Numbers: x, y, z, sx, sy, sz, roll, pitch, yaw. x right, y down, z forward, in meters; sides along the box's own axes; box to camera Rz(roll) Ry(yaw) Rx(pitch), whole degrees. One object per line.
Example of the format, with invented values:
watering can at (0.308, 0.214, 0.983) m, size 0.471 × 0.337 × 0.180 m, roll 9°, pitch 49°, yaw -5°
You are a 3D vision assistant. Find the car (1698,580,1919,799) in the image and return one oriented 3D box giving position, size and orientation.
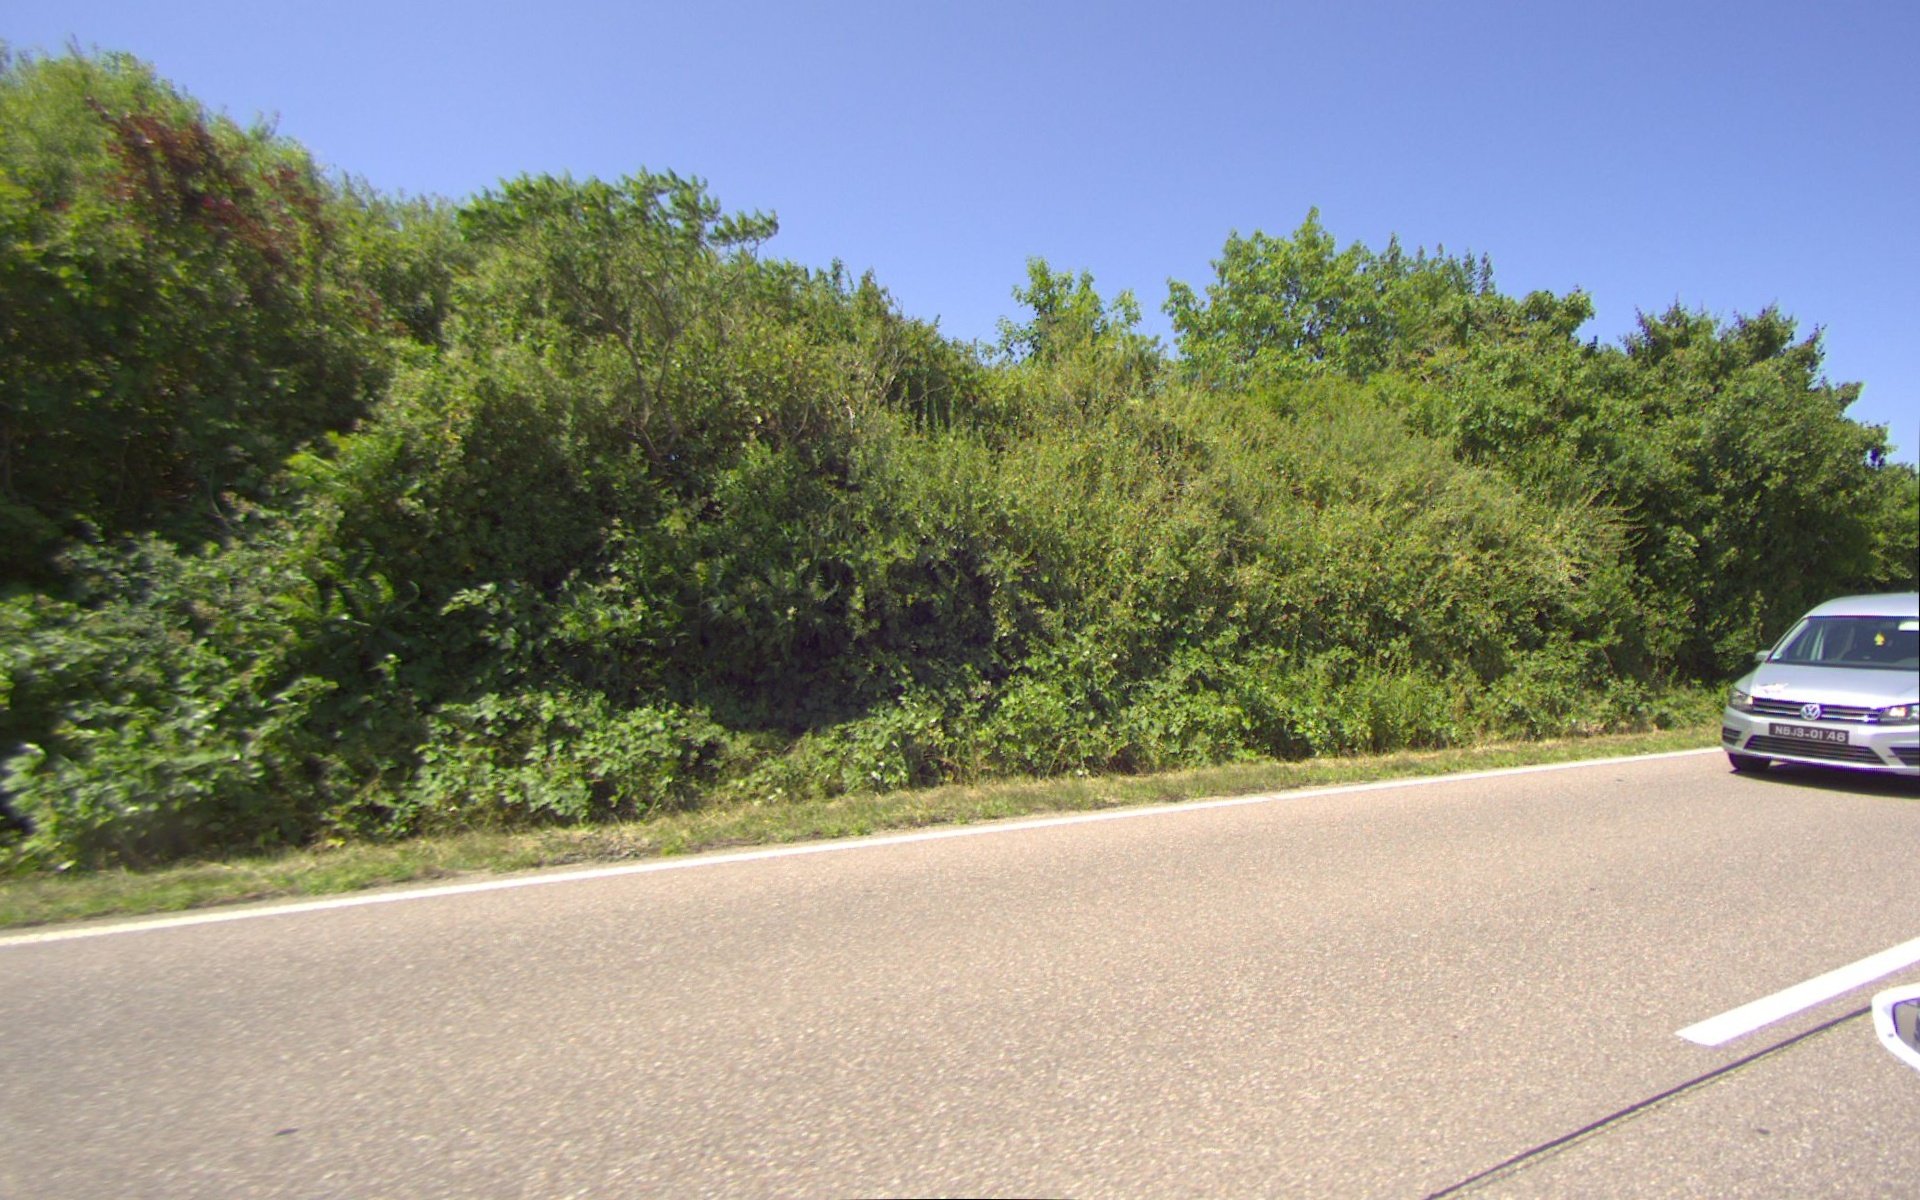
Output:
car at (9.754, 0.802, 10.335) m, size 4.747 × 1.843 × 1.754 m, roll 1°, pitch -1°, yaw -30°
